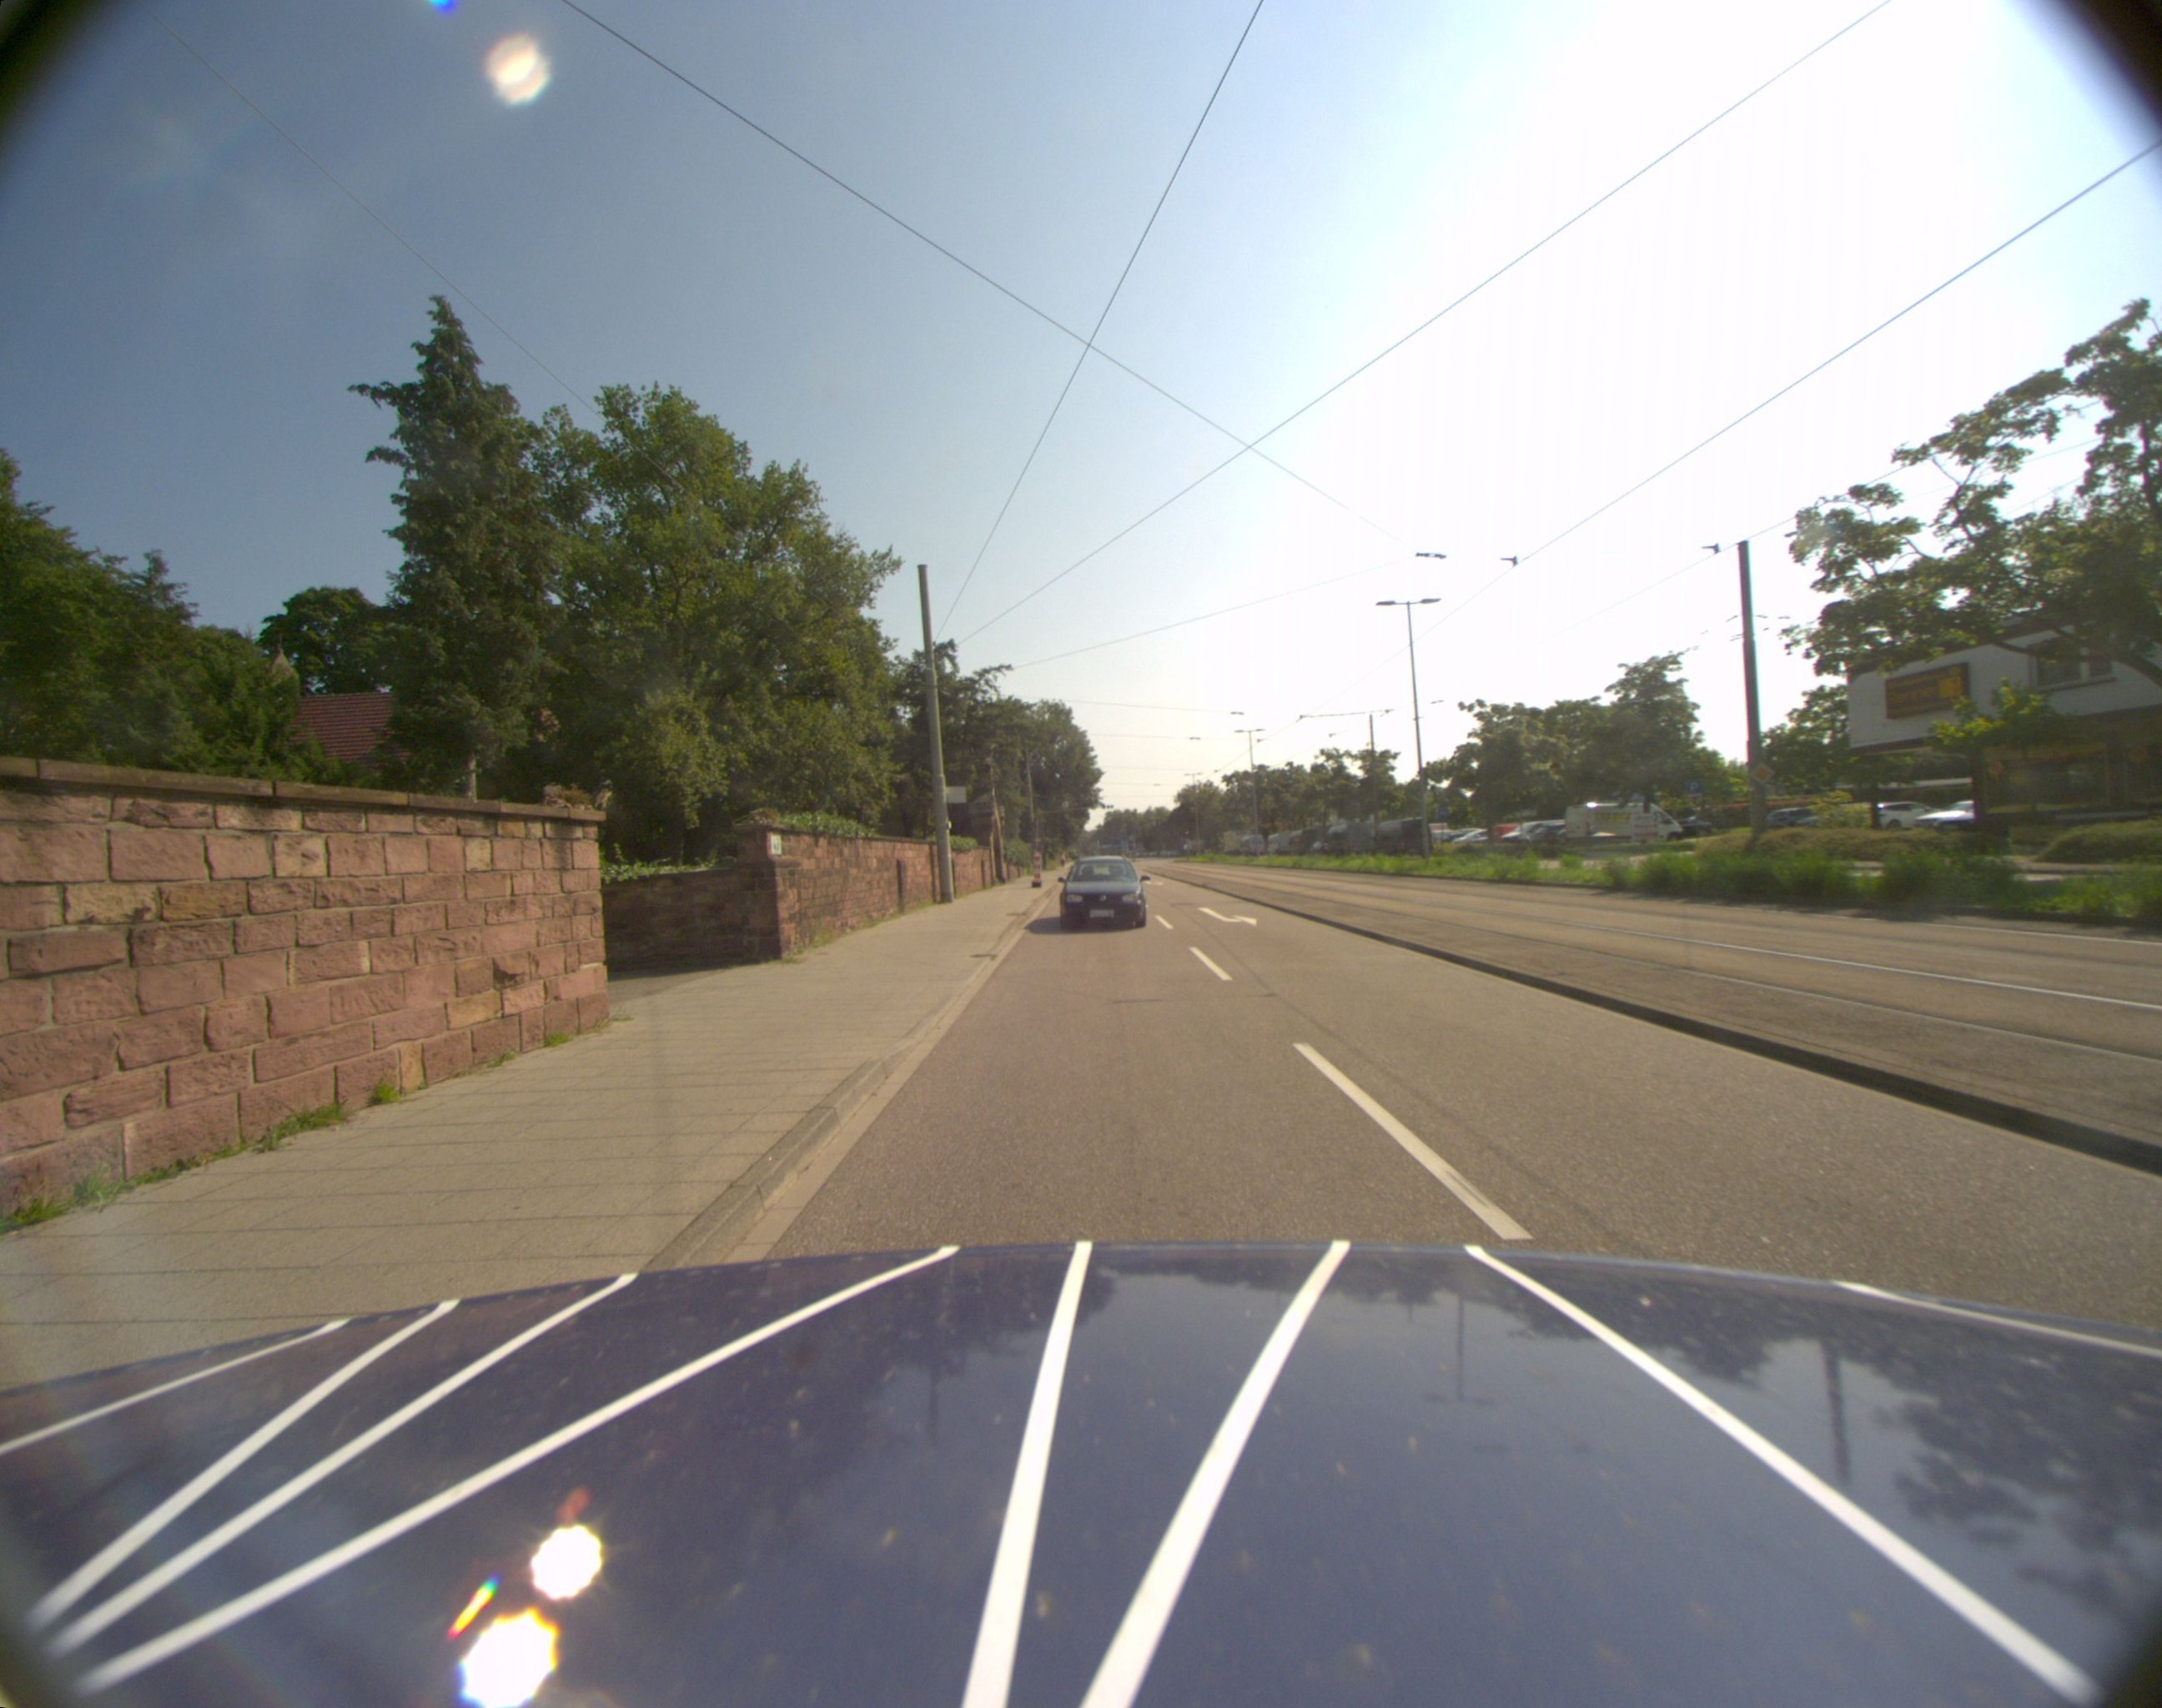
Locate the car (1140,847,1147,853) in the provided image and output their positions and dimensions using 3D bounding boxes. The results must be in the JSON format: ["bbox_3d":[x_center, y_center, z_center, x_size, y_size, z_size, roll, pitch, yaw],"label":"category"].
[{"bbox_3d":[17.731,-1.204,215.812,1.929,1.511,3.949,-2,1,3],"label":"car"}]

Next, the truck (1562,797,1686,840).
[{"bbox_3d":[31.338,-2.018,43.971,5.504,2.160,2.259,-2,1,0],"label":"truck"}]

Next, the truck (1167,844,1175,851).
[{"bbox_3d":[22.198,-1.523,187.671,1.691,1.665,3.655,-2,1,1],"label":"truck"}]

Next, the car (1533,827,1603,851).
[{"bbox_3d":[31.083,-0.946,48.533,3.413,1.418,1.633,-2,1,0],"label":"car"}]

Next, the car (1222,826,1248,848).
[{"bbox_3d":[21.032,-2.305,103.816,2.129,2.789,7.231,-2,1,1],"label":"car"}]

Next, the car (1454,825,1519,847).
[{"bbox_3d":[31.581,-1.407,59.300,4.167,1.455,1.624,-3,0,0],"label":"car"}]

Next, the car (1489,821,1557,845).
[{"bbox_3d":[31.631,-1.476,54.425,3.933,1.510,1.633,-2,1,0],"label":"car"}]

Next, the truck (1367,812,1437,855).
[{"bbox_3d":[20.696,-1.281,49.348,2.086,2.533,5.738,-2,1,0],"label":"truck"}]

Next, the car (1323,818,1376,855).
[{"bbox_3d":[20.849,-1.349,59.349,1.993,2.571,6.467,-5,1,3],"label":"car"}]

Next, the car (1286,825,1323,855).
[{"bbox_3d":[20.991,-1.233,71.645,1.826,2.571,5.910,-5,0,2],"label":"car"}]

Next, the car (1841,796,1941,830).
[{"bbox_3d":[43.676,-2.205,41.014,3.456,1.494,1.875,-6,3,-2],"label":"car"}]

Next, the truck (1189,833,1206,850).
[{"bbox_3d":[22.516,-2.331,147.078,2.278,3.104,8.788,-2,1,4],"label":"truck"}]

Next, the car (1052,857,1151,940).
[{"bbox_3d":[0.437,0.822,15.819,1.776,1.416,3.935,-2,1,2],"label":"car"}]

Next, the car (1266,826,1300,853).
[{"bbox_3d":[21.135,-1.499,79.835,2.137,2.571,5.630,-2,1,1],"label":"car"}]

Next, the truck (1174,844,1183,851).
[{"bbox_3d":[22.646,-1.581,177.261,1.691,1.665,3.655,-2,1,1],"label":"truck"}]

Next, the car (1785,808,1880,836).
[{"bbox_3d":[43.471,-1.833,44.007,3.713,1.335,1.491,-4,0,8],"label":"car"}]

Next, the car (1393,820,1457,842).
[{"bbox_3d":[33.021,-2.188,73.054,5.198,1.914,2.052,-2,1,0],"label":"car"}]

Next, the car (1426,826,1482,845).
[{"bbox_3d":[31.713,-1.543,64.681,3.933,1.441,1.633,-2,1,0],"label":"car"}]

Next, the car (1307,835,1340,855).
[{"bbox_3d":[20.898,-0.797,65.648,1.748,1.543,3.834,-4,1,3],"label":"car"}]

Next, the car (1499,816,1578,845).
[{"bbox_3d":[31.068,-1.584,51.659,4.410,1.774,1.633,-2,1,0],"label":"car"}]

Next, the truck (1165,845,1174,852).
[{"bbox_3d":[22.299,-1.309,191.602,1.691,1.665,3.655,-2,1,1],"label":"truck"}]

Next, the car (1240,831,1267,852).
[{"bbox_3d":[21.359,-1.528,94.110,2.148,2.444,4.831,-2,1,0],"label":"car"}]

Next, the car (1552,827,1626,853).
[{"bbox_3d":[31.083,-0.837,46.549,3.413,1.418,1.633,-2,1,0],"label":"car"}]

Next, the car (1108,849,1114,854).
[{"bbox_3d":[9.288,-0.785,238.478,1.726,1.317,4.000,-2,1,1],"label":"car"}]

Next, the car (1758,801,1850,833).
[{"bbox_3d":[44.349,-2.239,46.654,3.811,1.758,1.759,-2,1,6],"label":"car"}]
